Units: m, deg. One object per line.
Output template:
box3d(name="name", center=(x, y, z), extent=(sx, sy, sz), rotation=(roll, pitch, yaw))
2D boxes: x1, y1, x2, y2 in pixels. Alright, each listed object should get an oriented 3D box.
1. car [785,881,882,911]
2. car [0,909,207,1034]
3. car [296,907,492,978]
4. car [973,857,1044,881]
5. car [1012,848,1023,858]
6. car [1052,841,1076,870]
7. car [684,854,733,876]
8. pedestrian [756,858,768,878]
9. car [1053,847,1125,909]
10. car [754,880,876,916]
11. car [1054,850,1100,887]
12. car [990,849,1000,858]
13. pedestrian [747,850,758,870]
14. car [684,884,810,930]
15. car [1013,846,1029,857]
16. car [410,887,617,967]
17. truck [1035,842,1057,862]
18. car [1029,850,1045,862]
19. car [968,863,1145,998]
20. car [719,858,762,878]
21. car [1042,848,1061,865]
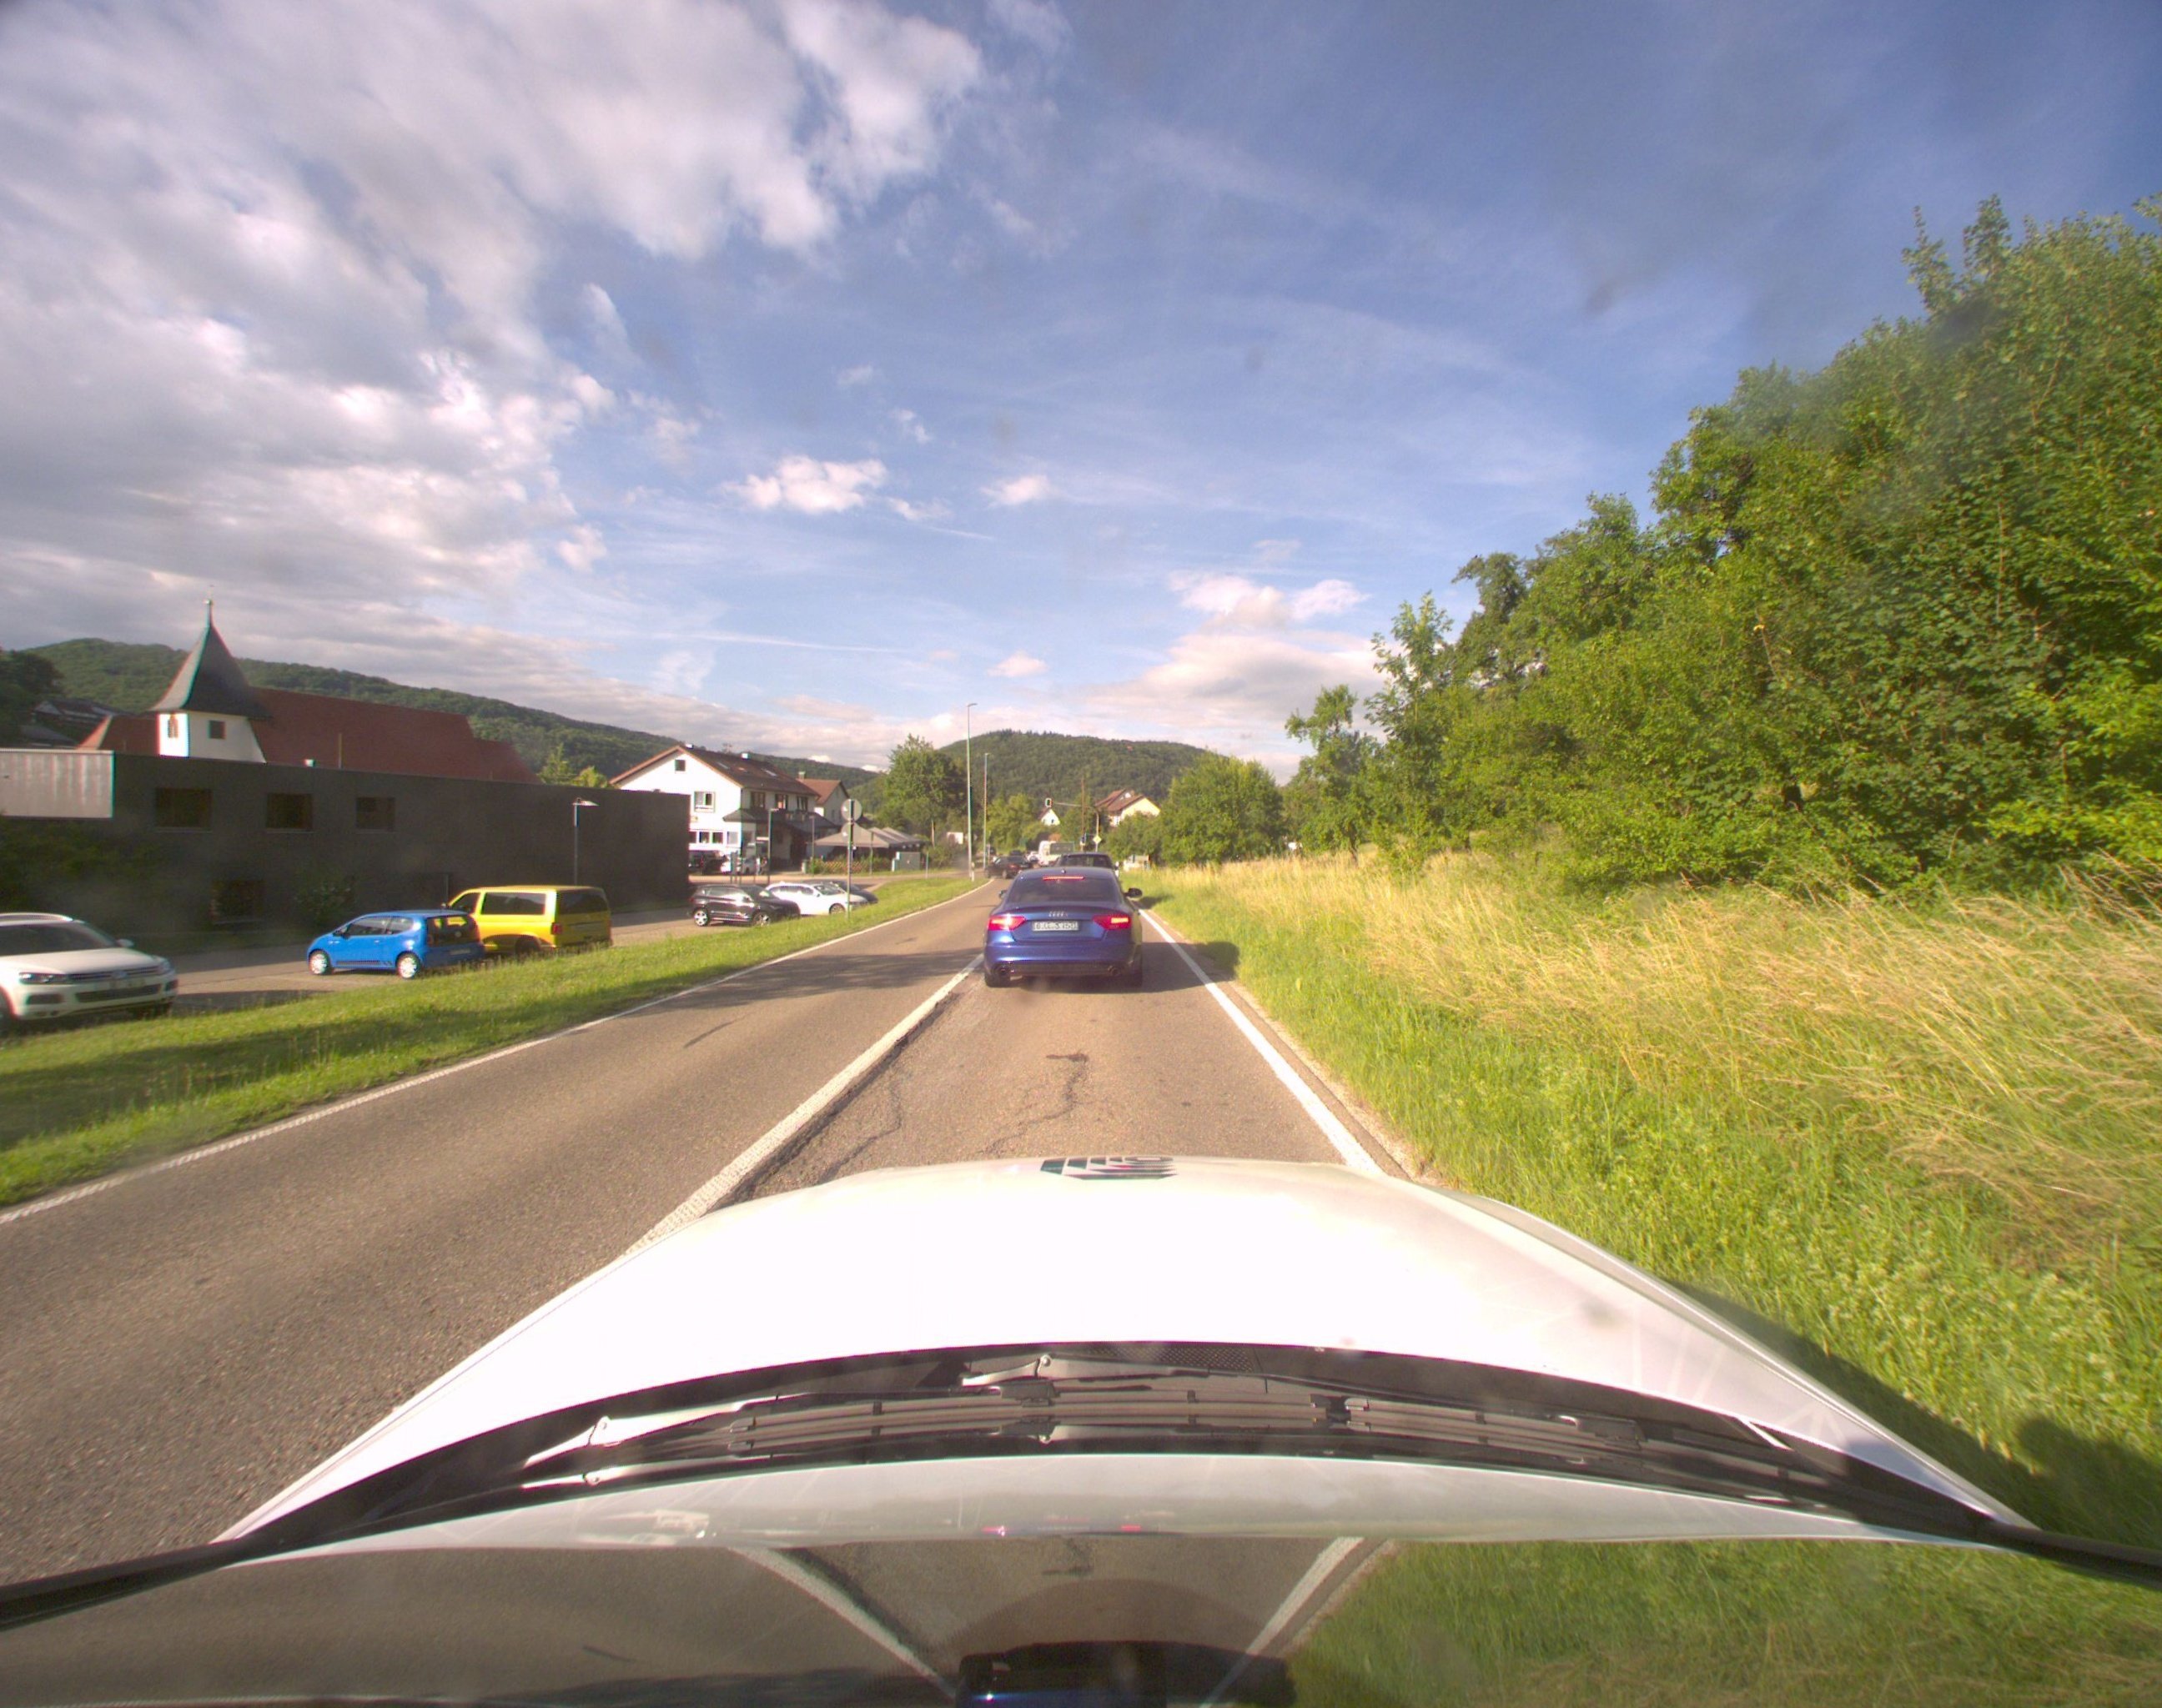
box3d(name="car", center=(-11.658, 1.963, 38.486), extent=(3.964, 1.310, 1.765), rotation=(0, -1, 8))
box3d(name="car", center=(-17.465, 1.836, 13.497), extent=(4.508, 1.703, 2.007), rotation=(0, -1, 12))
box3d(name="car", center=(-16.045, 2.024, 19.099), extent=(3.471, 1.472, 1.637), rotation=(0, -1, 10))
box3d(name="car", center=(-4.503, 0.953, 50.541), extent=(3.953, 1.442, 1.930), rotation=(0, -1, 21))
box3d(name="car", center=(-9.763, -0.120, 125.329), extent=(1.695, 1.490, 3.519), rotation=(0, -1, -6))
box3d(name="car", center=(-1.361, 0.154, 64.355), extent=(1.742, 2.195, 3.995), rotation=(0, -1, -3))
box3d(name="car", center=(-28.729, 0.846, 63.003), extent=(1.880, 1.662, 4.000), rotation=(0, -1, 1))
box3d(name="pedestrian", center=(-24.442, 1.074, 62.399), extent=(0.606, 1.503, 0.590), rotation=(0, -1, 0))
box3d(name="car", center=(0.310, 0.663, 23.536), extent=(1.738, 1.639, 4.005), rotation=(0, -1, 5))
box3d(name="car", center=(-11.669, 1.910, 35.798), extent=(4.781, 1.493, 1.887), rotation=(0, -1, 12))
box3d(name="car", center=(-0.130, 0.674, 38.149), extent=(1.797, 1.639, 4.468), rotation=(0, -1, 4))
box3d(name="car", center=(-16.079, -0.086, 152.093), extent=(1.625, 1.576, 3.668), rotation=(0, -1, -9))
box3d(name="pedestrian", center=(-25.172, 0.444, 62.439), extent=(0.606, 1.503, 0.590), rotation=(0, -1, 0))
box3d(name="car", center=(-12.831, 1.992, 31.382), extent=(3.997, 1.637, 2.007), rotation=(0, -1, 12))
box3d(name="car", center=(-8.108, -0.315, 109.348), extent=(1.699, 1.490, 3.512), rotation=(0, -1, -12))
box3d(name="car", center=(-14.958, 1.848, 21.519), extent=(4.575, 1.868, 2.008), rotation=(0, -1, 16))
box3d(name="truck", center=(-3.659, -0.200, 84.981), extent=(1.697, 1.953, 5.905), rotation=(0, -1, -8))
box3d(name="car", center=(-5.436, 0.220, 100.570), extent=(1.697, 1.490, 3.516), rotation=(0, -1, -8))
box3d(name="car", center=(-0.105, 0.822, 10.485), extent=(1.787, 1.388, 4.005), rotation=(-1, -1, 5))
box3d(name="car", center=(-26.432, 1.088, 63.319), extent=(1.550, 1.450, 4.000), rotation=(0, -1, 1))
box3d(name="car", center=(-2.901, 0.293, 79.609), extent=(1.742, 1.639, 3.995), rotation=(0, -1, -3))
